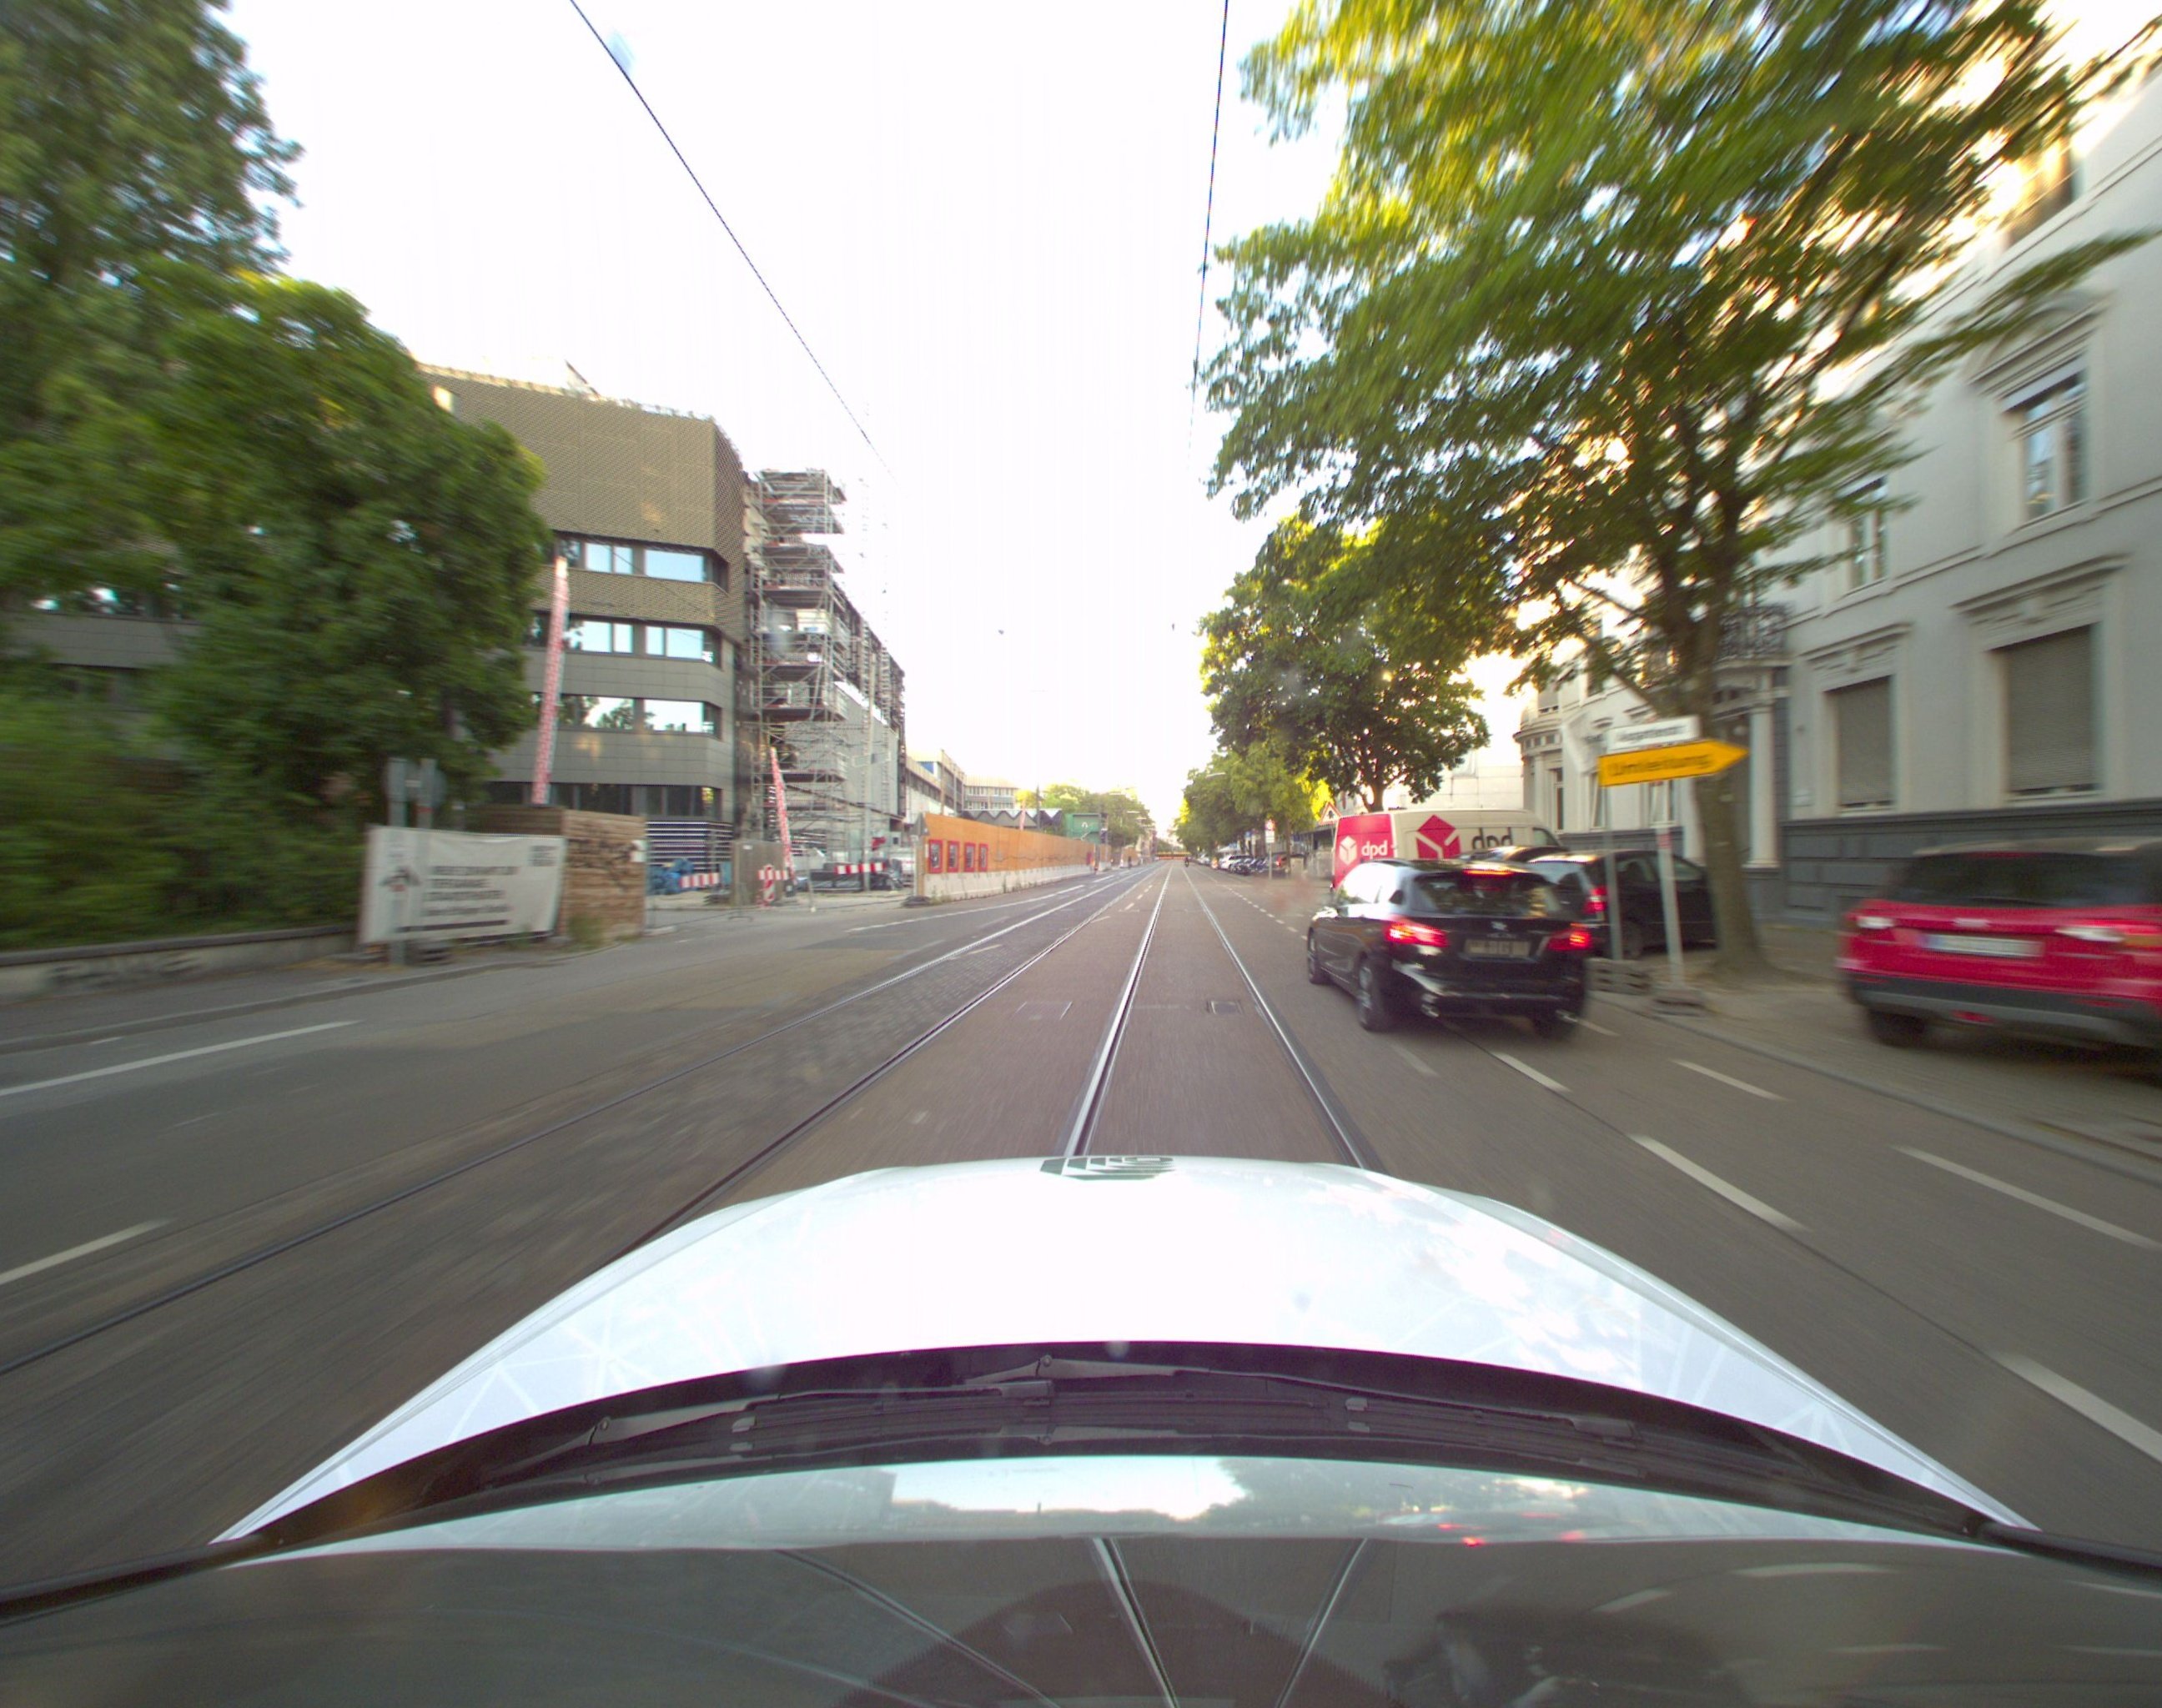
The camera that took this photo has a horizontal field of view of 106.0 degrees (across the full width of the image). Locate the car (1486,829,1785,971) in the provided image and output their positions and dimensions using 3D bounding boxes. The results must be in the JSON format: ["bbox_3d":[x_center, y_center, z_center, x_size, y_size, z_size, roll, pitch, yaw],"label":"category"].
[{"bbox_3d":[8.590,0.629,12.674,3.956,1.765,1.828,-3,0,-20],"label":"car"}]

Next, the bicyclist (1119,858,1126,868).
[{"bbox_3d":[6.123,1.335,120.371,0.940,1.346,1.112,-1,0,4],"label":"bicyclist"}]

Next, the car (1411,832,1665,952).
[{"bbox_3d":[8.255,0.624,14.757,3.956,1.765,1.828,-3,0,-20],"label":"car"}]

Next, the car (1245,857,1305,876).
[{"bbox_3d":[14.319,0.914,60.192,3.941,1.406,1.629,-1,0,-10],"label":"car"}]

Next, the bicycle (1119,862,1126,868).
[{"bbox_3d":[6.208,1.601,121.148,0.943,0.849,2.700,-1,0,4],"label":"bicycle"}]

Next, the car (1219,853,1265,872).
[{"bbox_3d":[15.044,0.814,76.065,3.939,1.722,1.630,-1,0,-8],"label":"car"}]

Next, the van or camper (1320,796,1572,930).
[{"bbox_3d":[8.219,0.112,18.206,5.564,2.530,2.067,-3,0,-28],"label":"van or camper"}]

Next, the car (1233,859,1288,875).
[{"bbox_3d":[14.183,1.043,64.341,3.941,1.175,1.629,-1,0,-10],"label":"car"}]

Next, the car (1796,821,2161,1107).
[{"bbox_3d":[7.803,0.595,6.209,3.956,1.603,1.828,-3,-1,-20],"label":"car"}]

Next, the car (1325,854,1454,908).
[{"bbox_3d":[9.349,0.788,24.582,3.795,1.309,1.638,-3,0,-33],"label":"car"}]

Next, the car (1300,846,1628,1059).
[{"bbox_3d":[3.583,0.778,8.514,1.872,1.620,4.007,2,0,6],"label":"car"}]

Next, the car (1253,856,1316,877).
[{"bbox_3d":[14.224,0.873,56.987,3.941,1.406,1.629,-1,0,-10],"label":"car"}]

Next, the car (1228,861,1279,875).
[{"bbox_3d":[14.686,1.168,69.286,3.939,1.175,1.630,-1,0,-8],"label":"car"}]

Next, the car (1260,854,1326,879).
[{"bbox_3d":[14.008,0.817,53.870,3.941,1.579,1.629,-1,0,-10],"label":"car"}]
